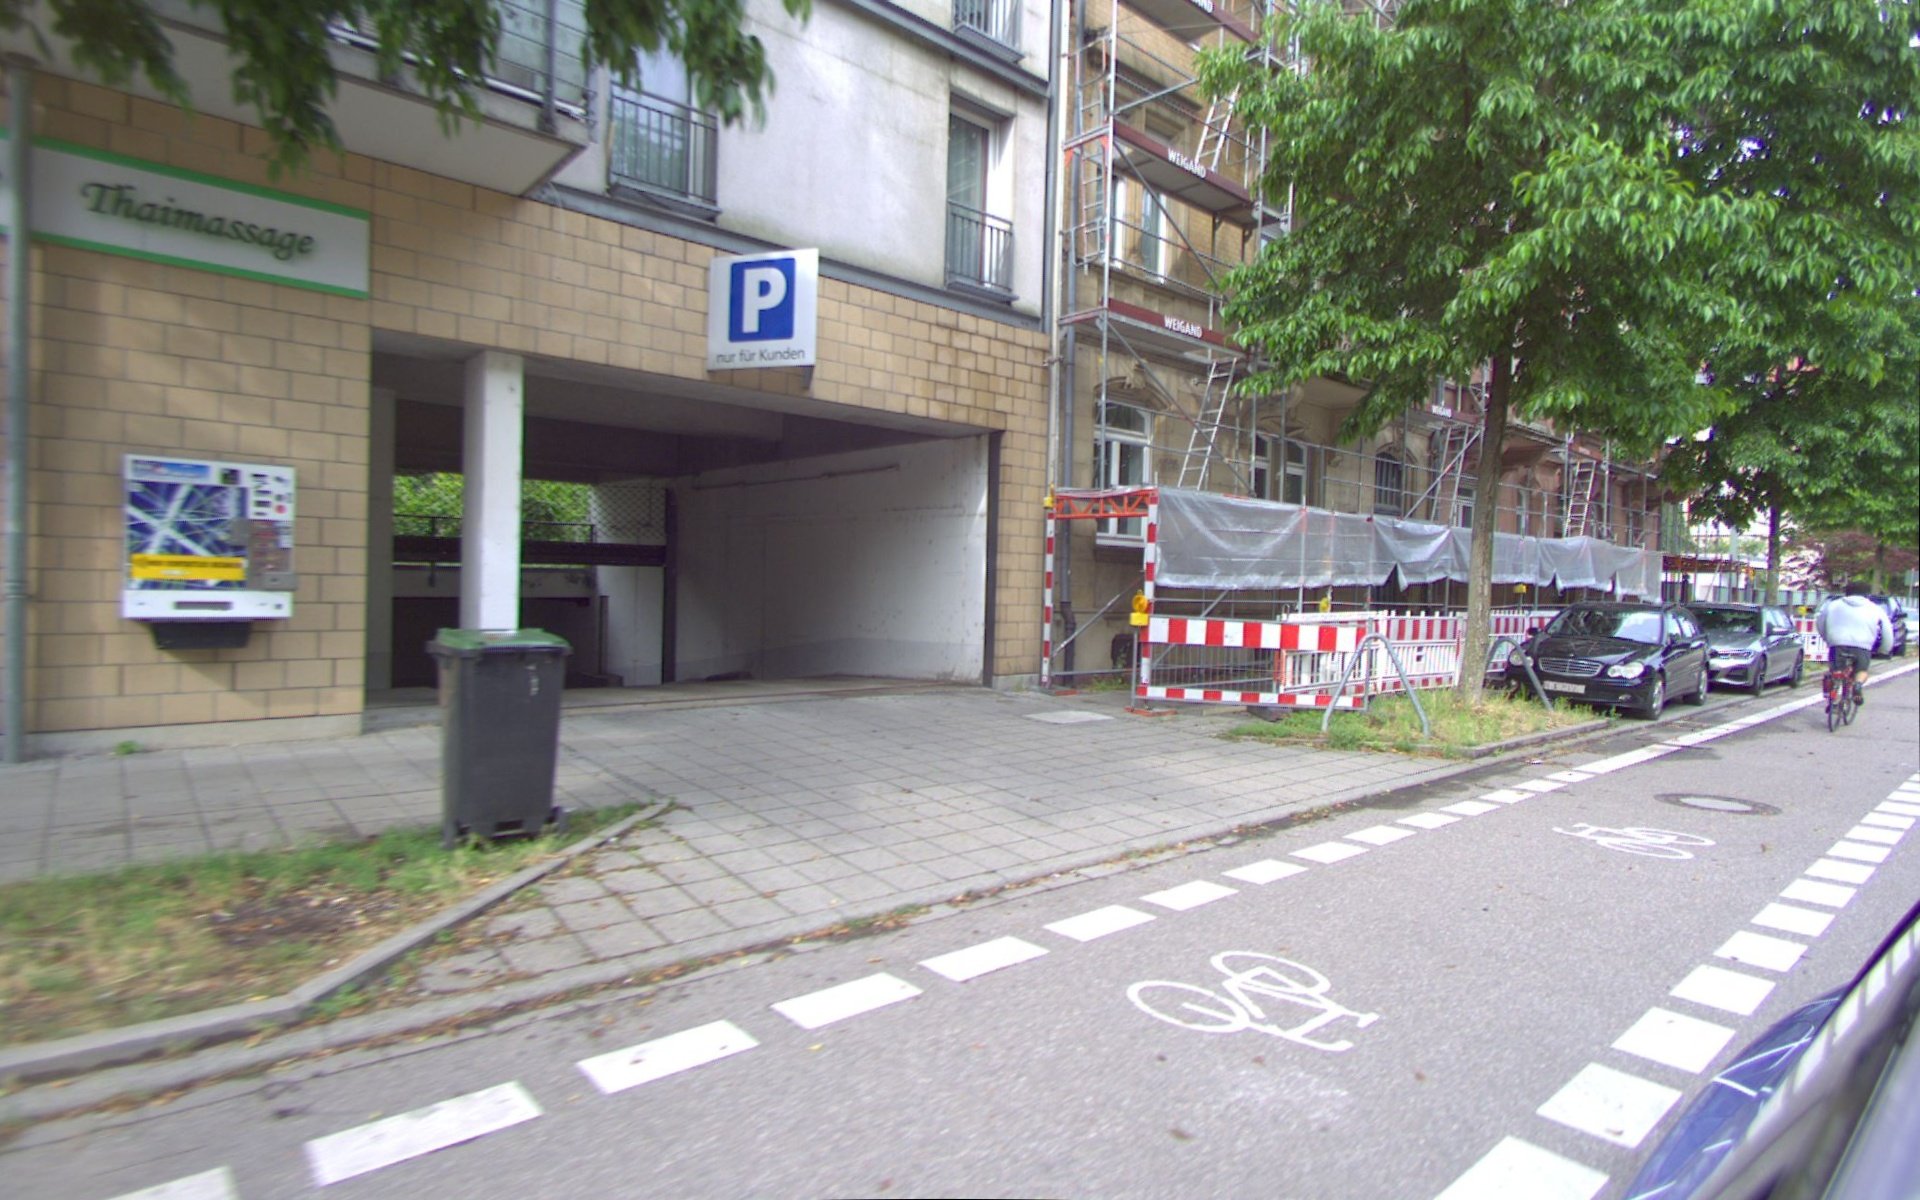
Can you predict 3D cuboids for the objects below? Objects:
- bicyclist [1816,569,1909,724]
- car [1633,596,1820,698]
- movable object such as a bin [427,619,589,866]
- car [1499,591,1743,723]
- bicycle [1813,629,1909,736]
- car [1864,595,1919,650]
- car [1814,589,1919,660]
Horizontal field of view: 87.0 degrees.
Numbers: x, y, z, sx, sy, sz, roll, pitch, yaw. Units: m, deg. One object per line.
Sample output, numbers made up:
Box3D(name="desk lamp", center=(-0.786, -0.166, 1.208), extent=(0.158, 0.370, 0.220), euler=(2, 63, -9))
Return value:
Box3D(name="bicyclist", center=(11.036, 0.534, 12.379), extent=(0.823, 1.809, 0.750), euler=(0, 0, -41))
Box3D(name="car", center=(13.377, 0.715, 17.572), extent=(4.206, 1.479, 1.754), euler=(0, 3, -42))
Box3D(name="movable object such as a bin", center=(-2.263, 0.655, 5.047), extent=(0.531, 1.067, 0.763), euler=(0, 2, -41))
Box3D(name="car", center=(9.253, 0.667, 14.035), extent=(4.206, 1.479, 1.754), euler=(0, 3, -42))
Box3D(name="bicycle", center=(10.928, 0.953, 12.248), extent=(2.014, 1.137, 0.612), euler=(0, 0, -41))
Box3D(name="car", center=(32.291, 0.740, 34.414), extent=(3.697, 1.716, 1.836), euler=(0, 3, -42))
Box3D(name="car", center=(25.501, 0.629, 28.309), extent=(4.206, 1.751, 1.836), euler=(0, 3, -42))
